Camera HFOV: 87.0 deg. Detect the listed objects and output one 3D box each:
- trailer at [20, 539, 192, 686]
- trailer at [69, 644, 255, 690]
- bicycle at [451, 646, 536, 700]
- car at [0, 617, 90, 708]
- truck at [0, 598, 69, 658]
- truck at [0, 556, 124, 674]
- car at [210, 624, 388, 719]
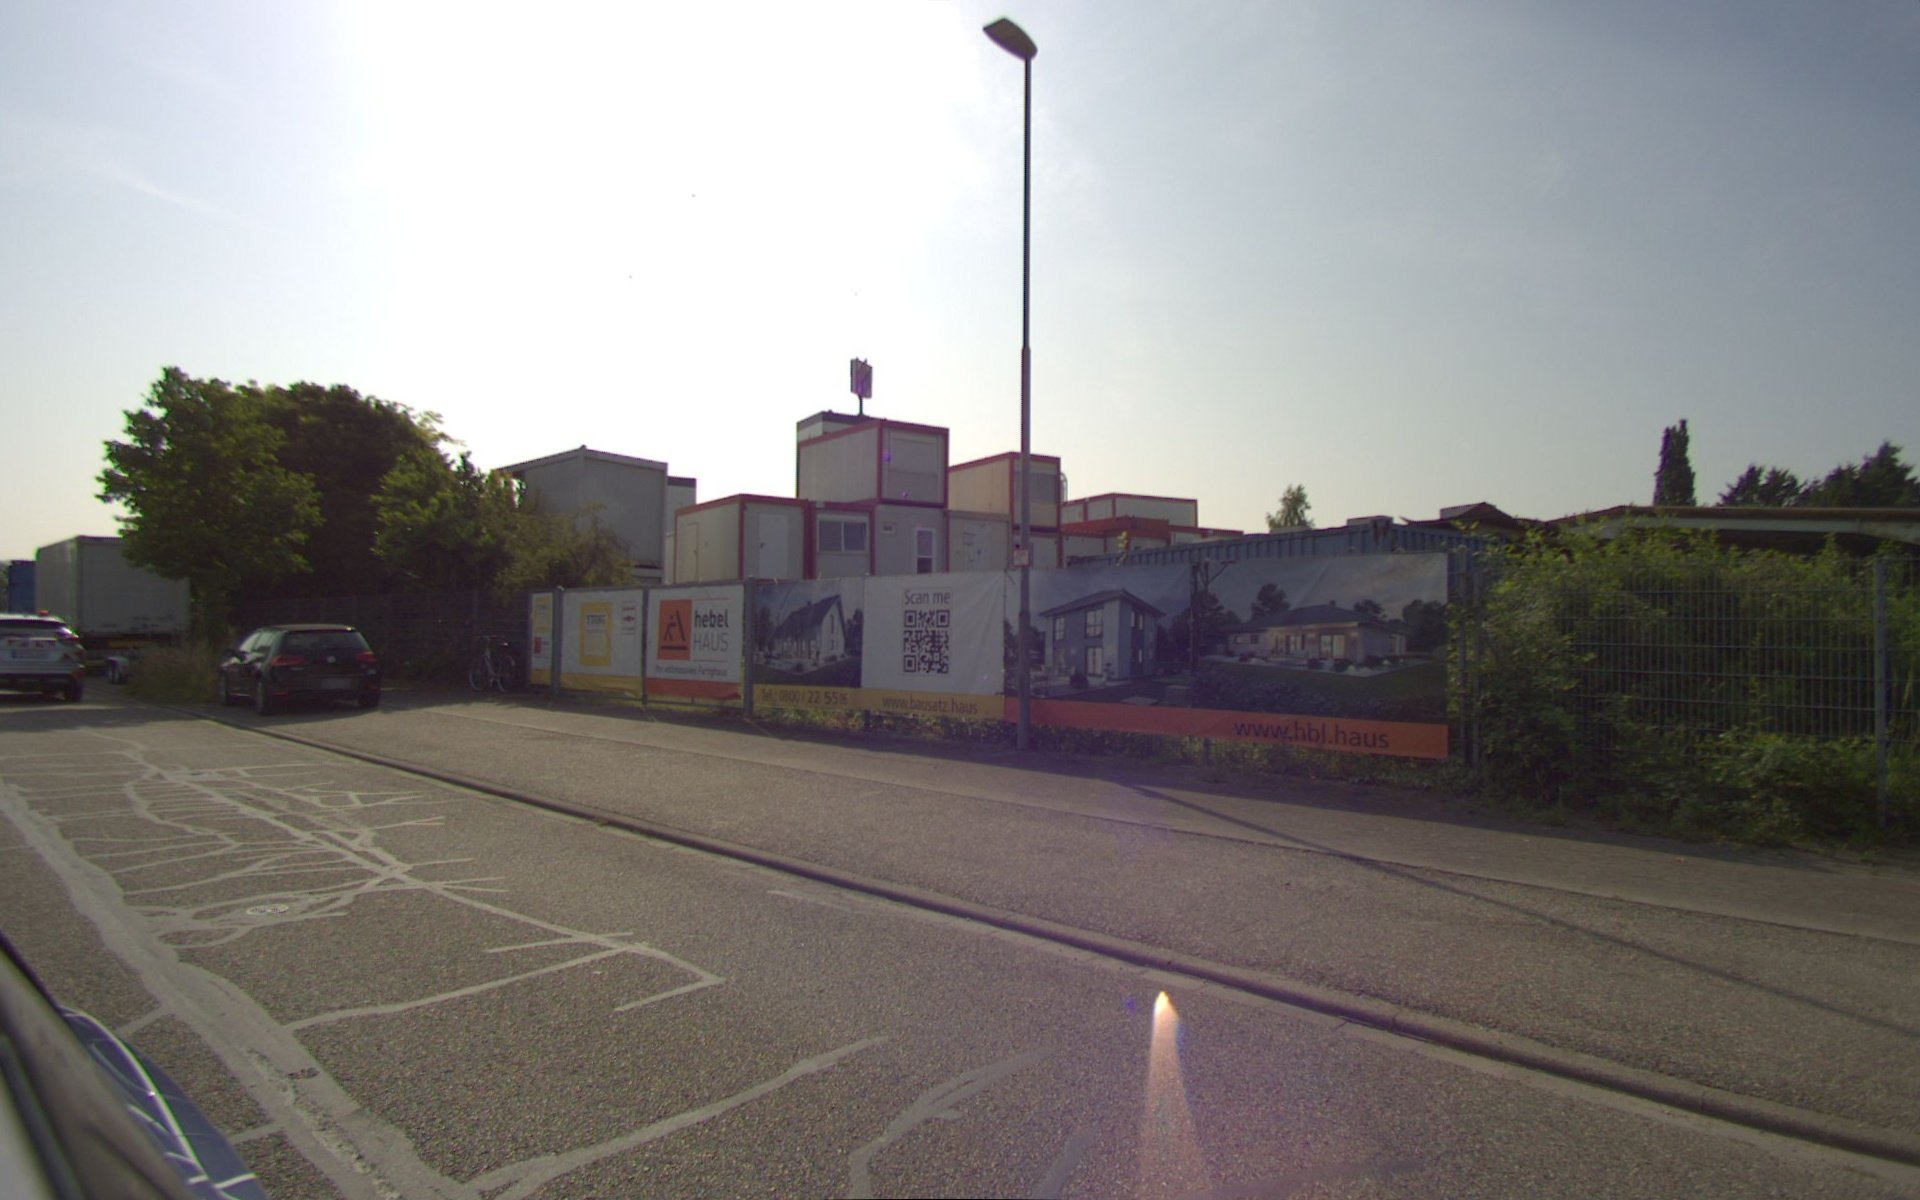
[{"bbox_3d":[-26.574,0.424,31.268,9.761,3.914,2.671,-1,-1,42],"label":"trailer"},{"bbox_3d":[-20.558,1.653,25.953,6.239,0.993,2.621,-2,-3,41],"label":"trailer"},{"bbox_3d":[-9.240,1.424,20.003,2.451,0.980,0.556,-1,-3,41],"label":"bicycle"},{"bbox_3d":[-18.715,1.180,19.900,4.247,1.639,1.793,-1,-3,41],"label":"car"},{"bbox_3d":[-64.788,2.014,70.457,10.059,3.883,2.747,-2,-4,42],"label":"truck"},{"bbox_3d":[-33.848,0.598,37.746,9.632,3.914,2.684,-1,-1,42],"label":"truck"},{"bbox_3d":[-11.719,1.187,17.830,4.093,1.481,1.669,-2,-3,43],"label":"car"}]
